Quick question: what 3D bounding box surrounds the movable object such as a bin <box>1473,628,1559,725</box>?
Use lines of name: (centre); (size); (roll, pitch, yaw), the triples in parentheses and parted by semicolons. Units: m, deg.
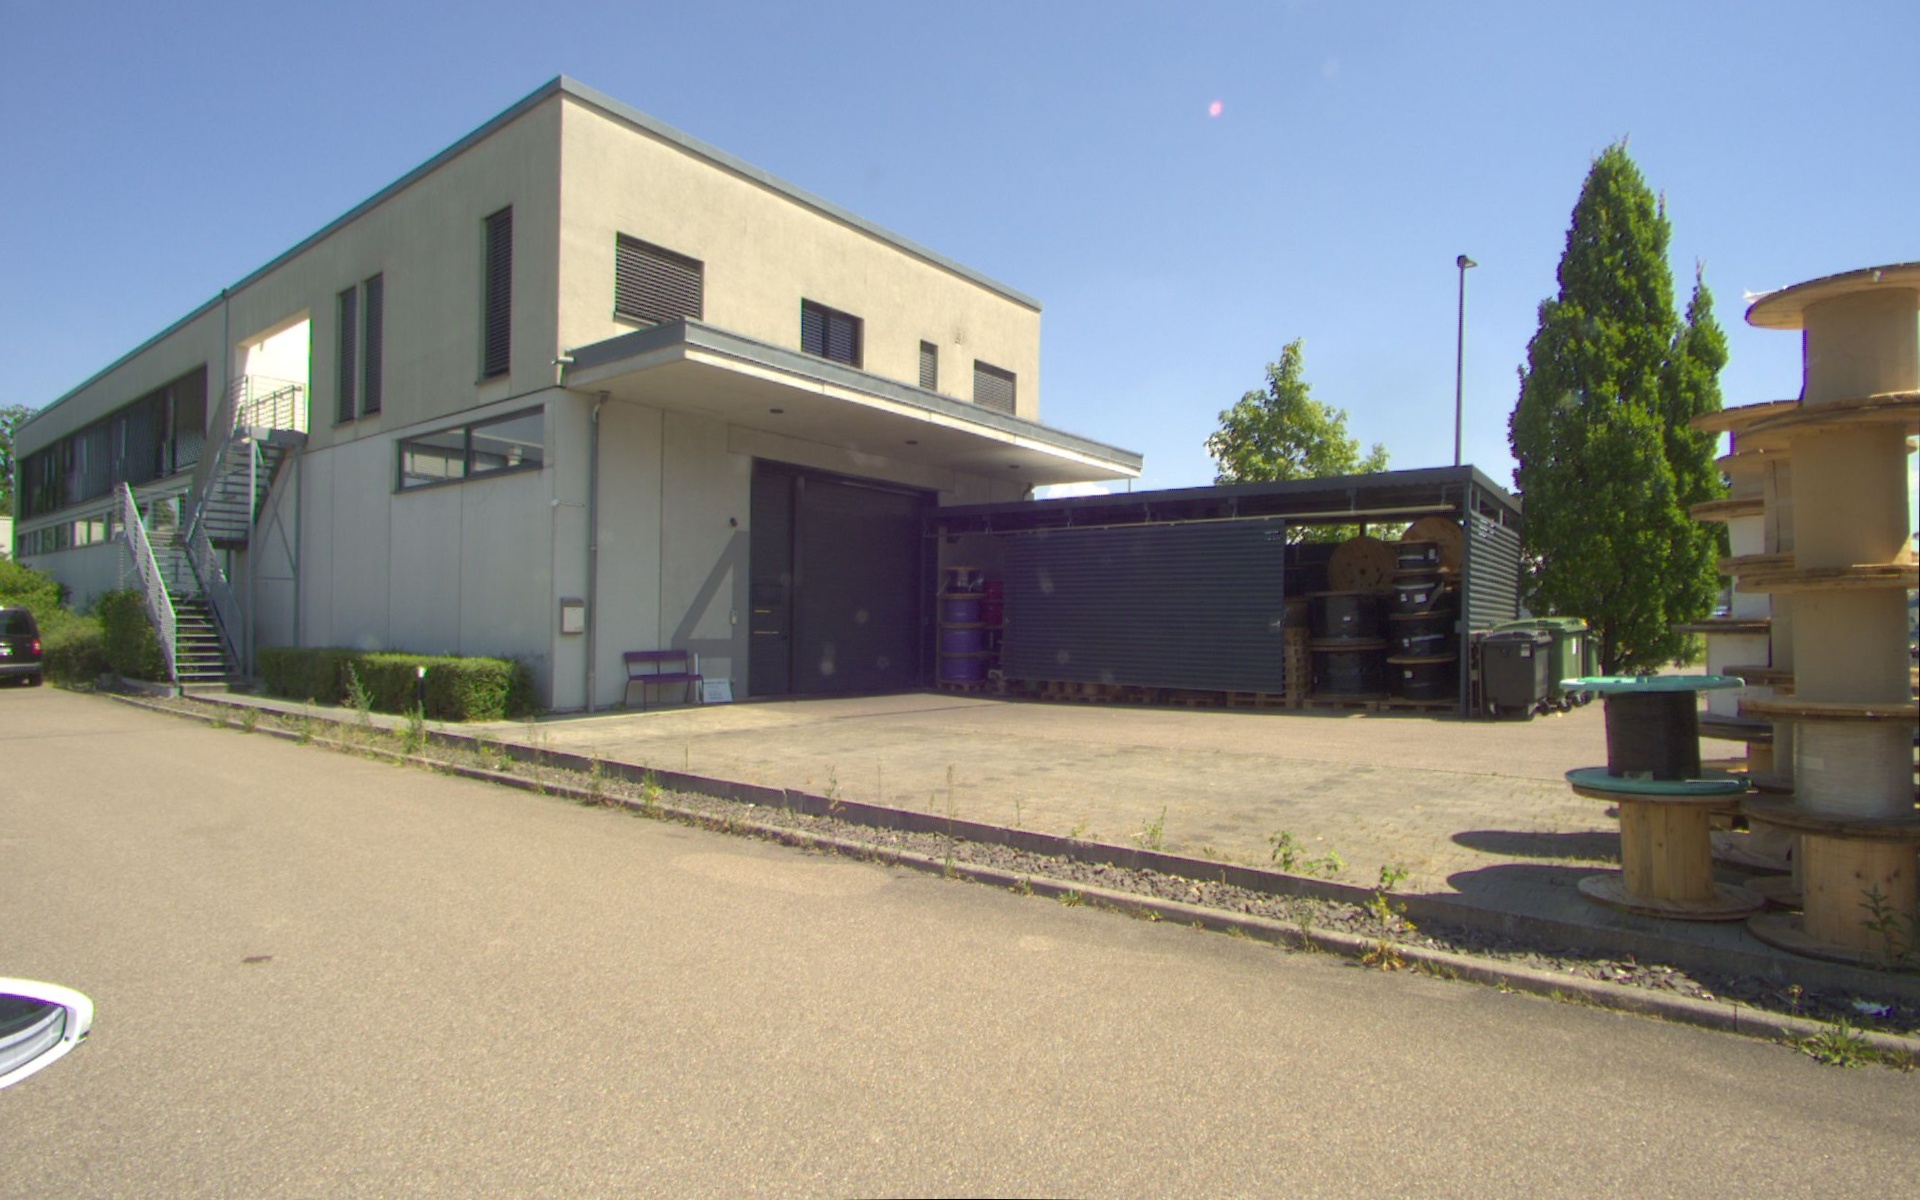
movable object such as a bin: (7.685, 1.030, 13.843); (0.868, 1.266, 0.794); (0, -1, -43)

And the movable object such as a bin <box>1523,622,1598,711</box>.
movable object such as a bin: (9.196, 0.996, 15.337); (0.802, 1.314, 0.794); (0, -1, -43)

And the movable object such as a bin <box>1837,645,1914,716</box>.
movable object such as a bin: (12.386, 1.078, 13.561); (0.537, 0.929, 0.585); (-1, -1, 14)

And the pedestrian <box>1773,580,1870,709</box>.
pedestrian: (12.432, 0.624, 14.463); (0.756, 1.792, 0.807); (0, 0, -21)

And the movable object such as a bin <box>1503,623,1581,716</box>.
movable object such as a bin: (8.572, 0.999, 14.755); (0.748, 1.314, 0.794); (0, -1, -43)

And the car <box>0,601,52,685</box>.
car: (-22.801, 0.968, 23.419); (3.951, 1.861, 1.736); (0, 0, 39)
